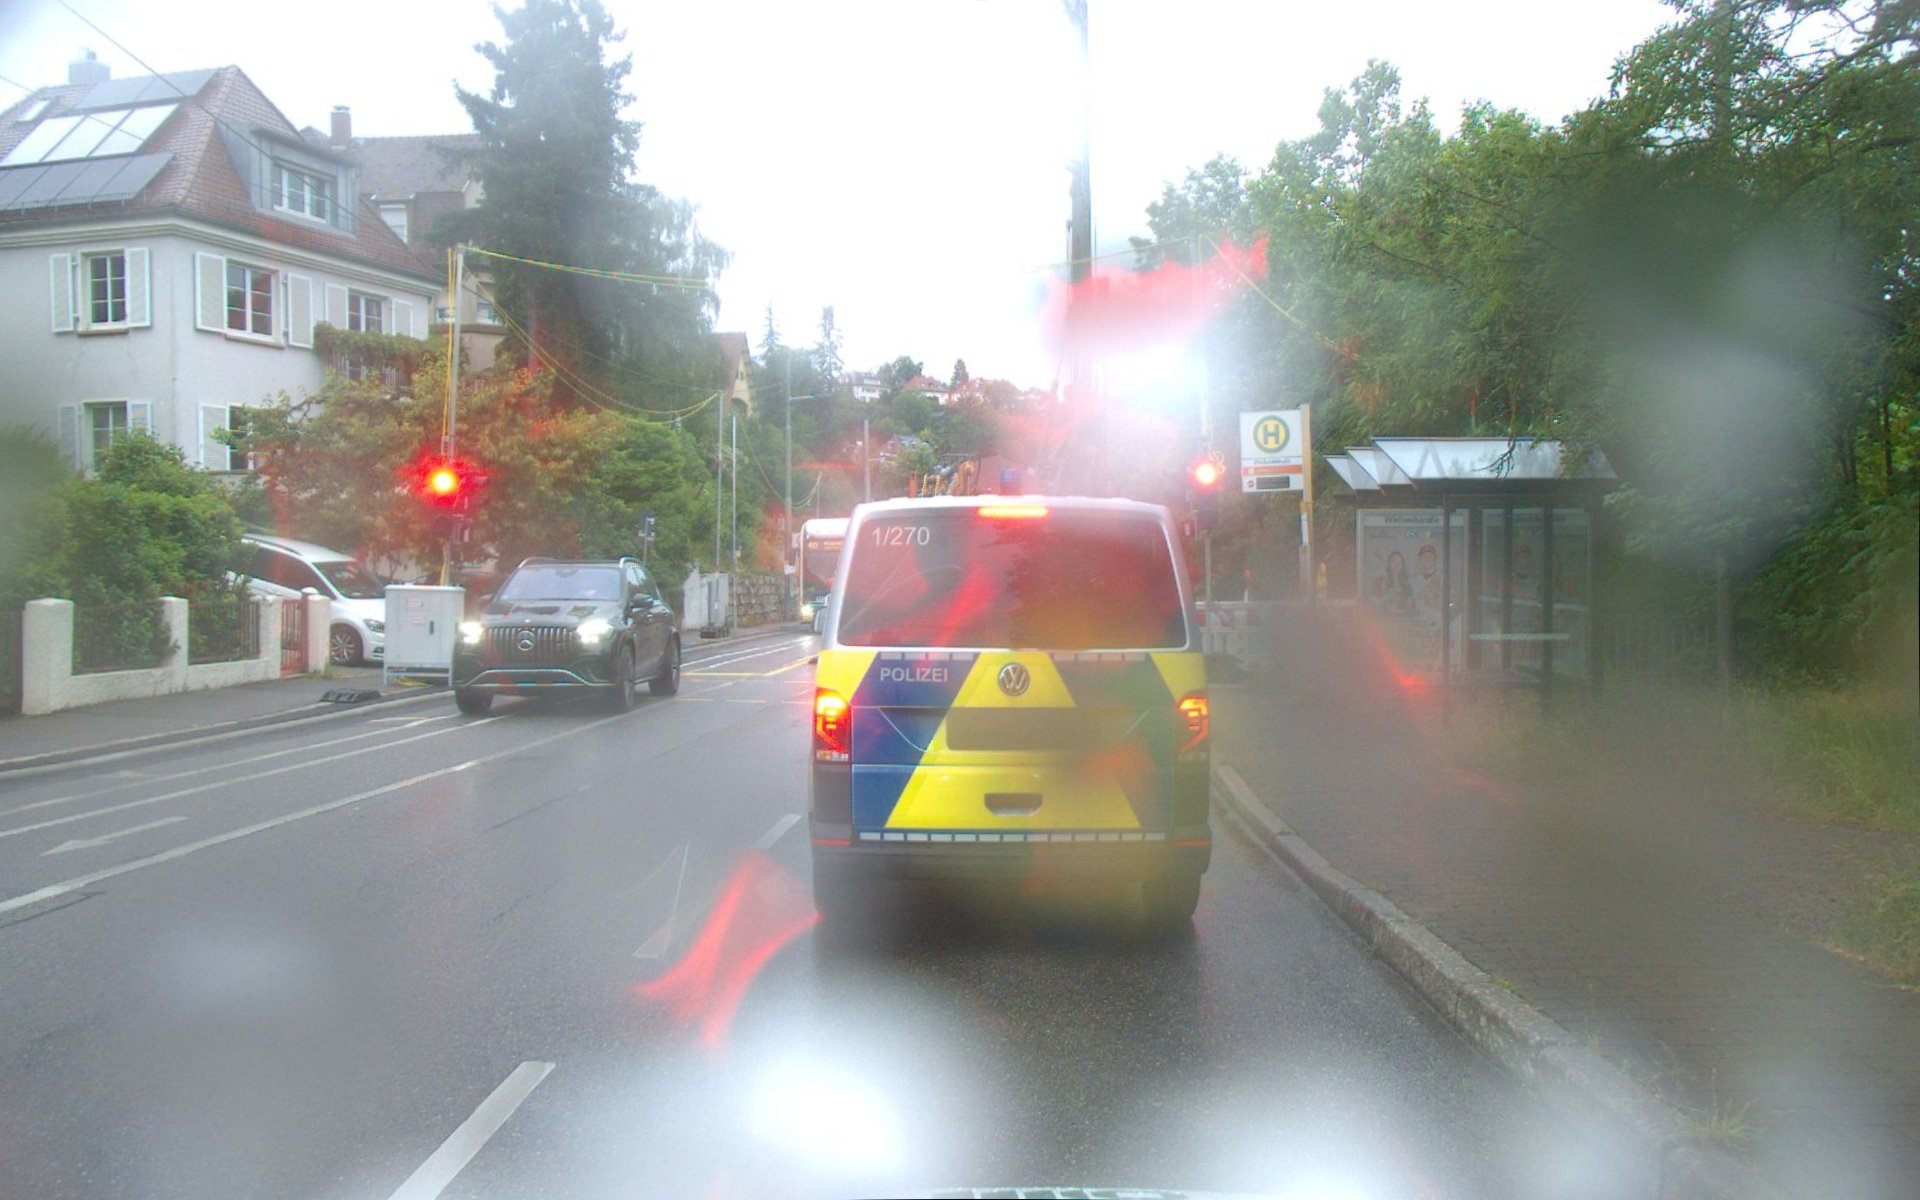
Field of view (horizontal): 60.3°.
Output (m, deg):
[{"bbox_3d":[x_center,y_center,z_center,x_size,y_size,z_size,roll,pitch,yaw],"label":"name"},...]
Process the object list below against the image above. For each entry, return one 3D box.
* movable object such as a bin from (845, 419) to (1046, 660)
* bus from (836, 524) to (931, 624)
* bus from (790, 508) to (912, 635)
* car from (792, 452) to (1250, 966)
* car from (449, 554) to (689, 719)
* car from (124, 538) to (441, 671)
[{"bbox_3d":[-0.167,-1.093,31.628,2.770,4.250,4.384,1,0,14],"label":"movable object such as a bin"},{"bbox_3d":[-2.981,-1.004,67.811,2.782,3.688,12.009,1,0,2],"label":"bus"},{"bbox_3d":[-3.470,-0.914,55.839,2.782,3.783,12.009,1,0,2],"label":"bus"},{"bbox_3d":[0.225,0.437,8.810,1.855,2.086,3.999,1,0,-1],"label":"car"},{"bbox_3d":[-4.655,0.377,20.392,1.939,1.778,4.552,1,1,-1],"label":"car"},{"bbox_3d":[-11.210,0.057,27.480,4.532,2.042,1.902,1,0,11],"label":"car"}]
